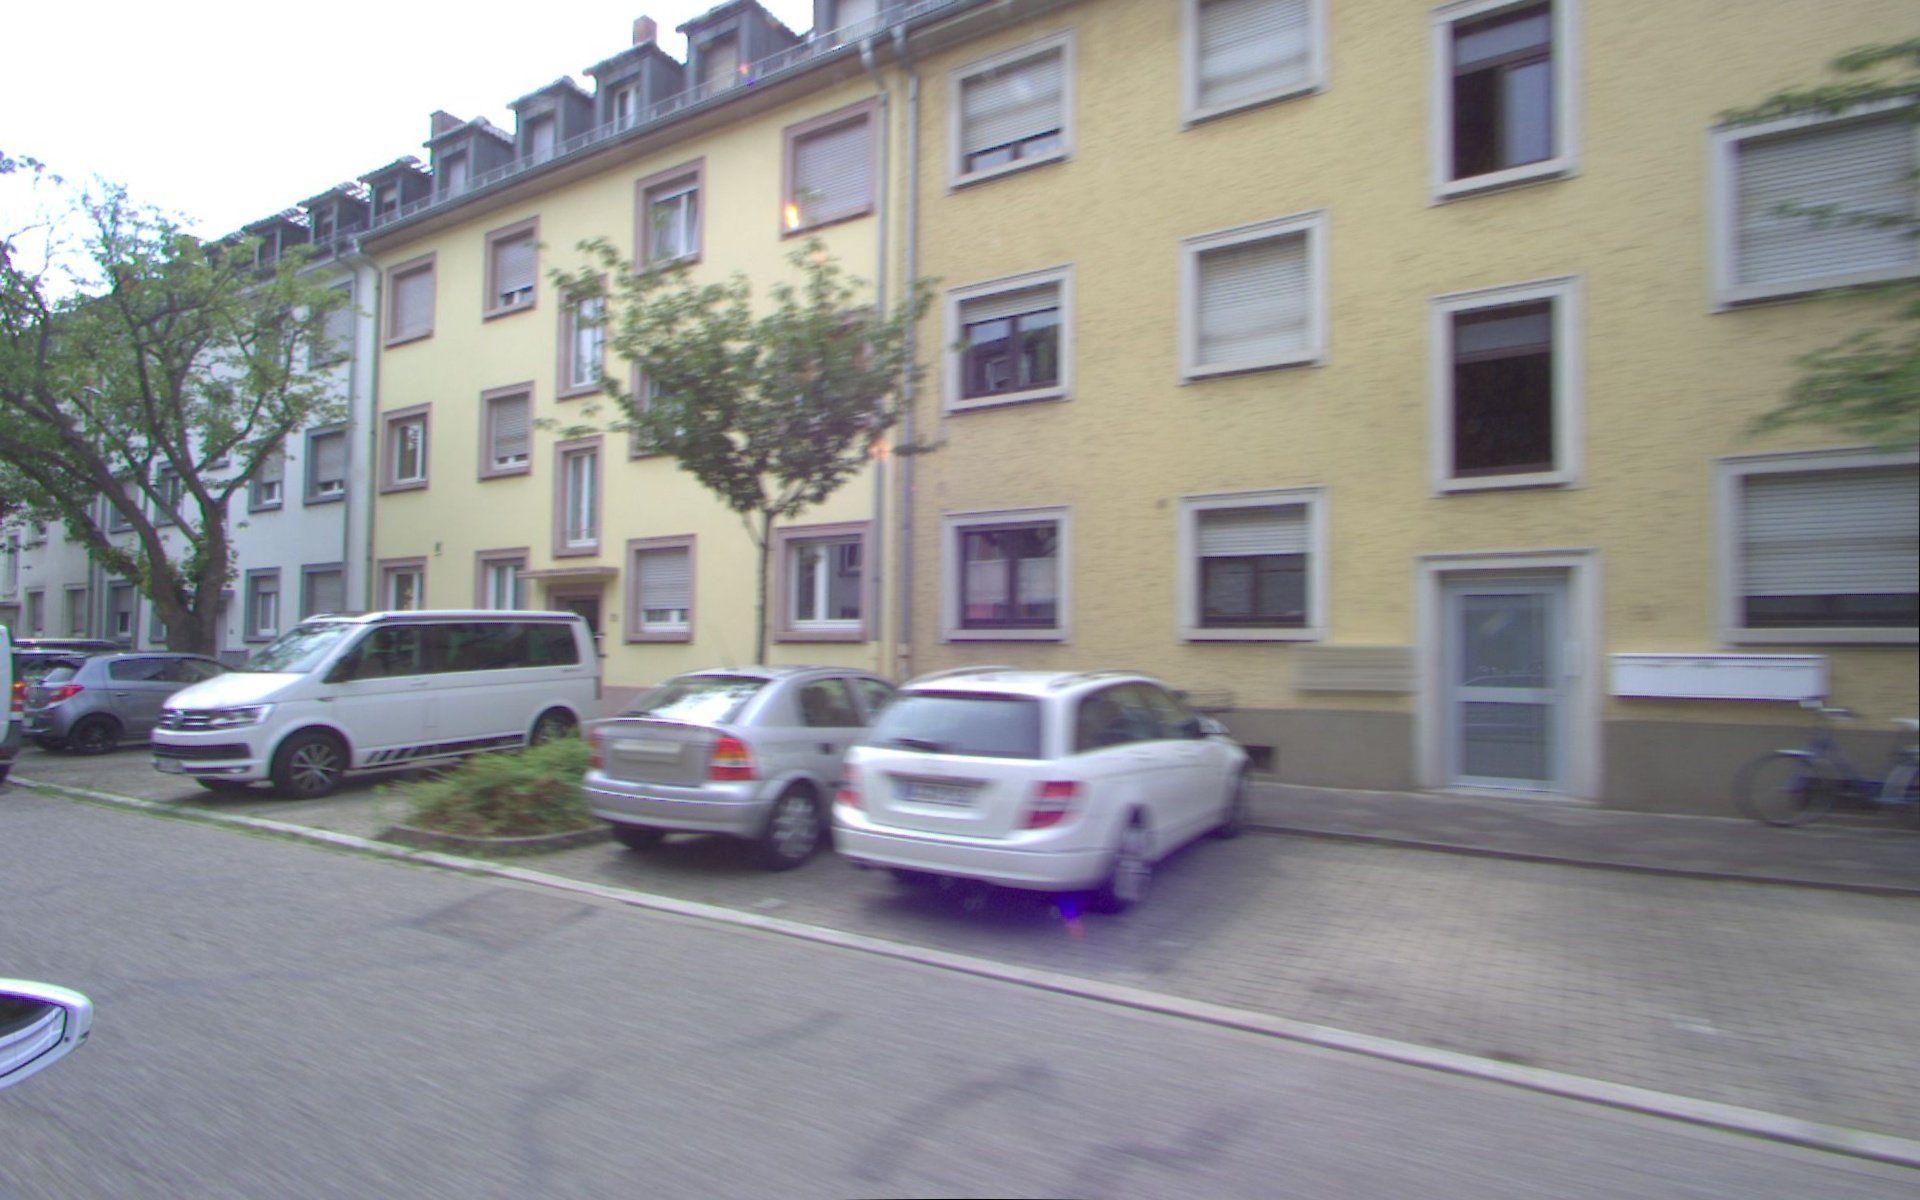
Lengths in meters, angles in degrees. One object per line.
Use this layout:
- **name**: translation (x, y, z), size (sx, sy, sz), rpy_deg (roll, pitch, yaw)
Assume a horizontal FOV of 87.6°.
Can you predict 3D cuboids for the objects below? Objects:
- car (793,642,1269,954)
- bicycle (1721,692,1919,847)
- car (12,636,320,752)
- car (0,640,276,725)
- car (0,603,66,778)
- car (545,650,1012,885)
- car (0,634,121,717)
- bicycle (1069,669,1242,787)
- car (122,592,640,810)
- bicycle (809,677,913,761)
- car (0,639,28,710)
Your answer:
- **car**: translation (0.897, 1.115, 7.545), size (1.823, 1.529, 4.543), rpy_deg (-1, -2, 29)
- **bicycle**: translation (7.396, 1.370, 8.239), size (1.729, 1.155, 0.536), rpy_deg (-1, -1, 30)
- **car**: translation (-12.545, 1.396, 16.019), size (1.788, 1.594, 3.474), rpy_deg (-1, -2, 30)
- **car**: translation (-15.928, 1.524, 19.526), size (1.614, 1.438, 3.982), rpy_deg (-1, -2, 31)
- **car**: translation (-12.894, 1.014, 11.860), size (4.634, 1.937, 1.994), rpy_deg (-1, -5, 30)
- **car**: translation (-1.267, 1.189, 8.699), size (1.823, 1.433, 4.089), rpy_deg (-1, -2, 29)
- **car**: translation (-18.810, 1.440, 19.130), size (1.614, 1.555, 3.982), rpy_deg (-1, -2, 31)
- **bicycle**: translation (2.213, 1.413, 11.418), size (1.848, 1.215, 0.585), rpy_deg (-1, -1, 30)
- **car**: translation (-6.583, 1.040, 12.218), size (2.041, 2.049, 5.228), rpy_deg (-1, -2, 27)
- **bicycle**: translation (-1.366, 1.606, 13.764), size (1.432, 1.065, 0.450), rpy_deg (-1, -1, 30)
- **car**: translation (-21.504, 1.529, 19.965), size (1.741, 1.473, 3.982), rpy_deg (-1, -2, 31)
